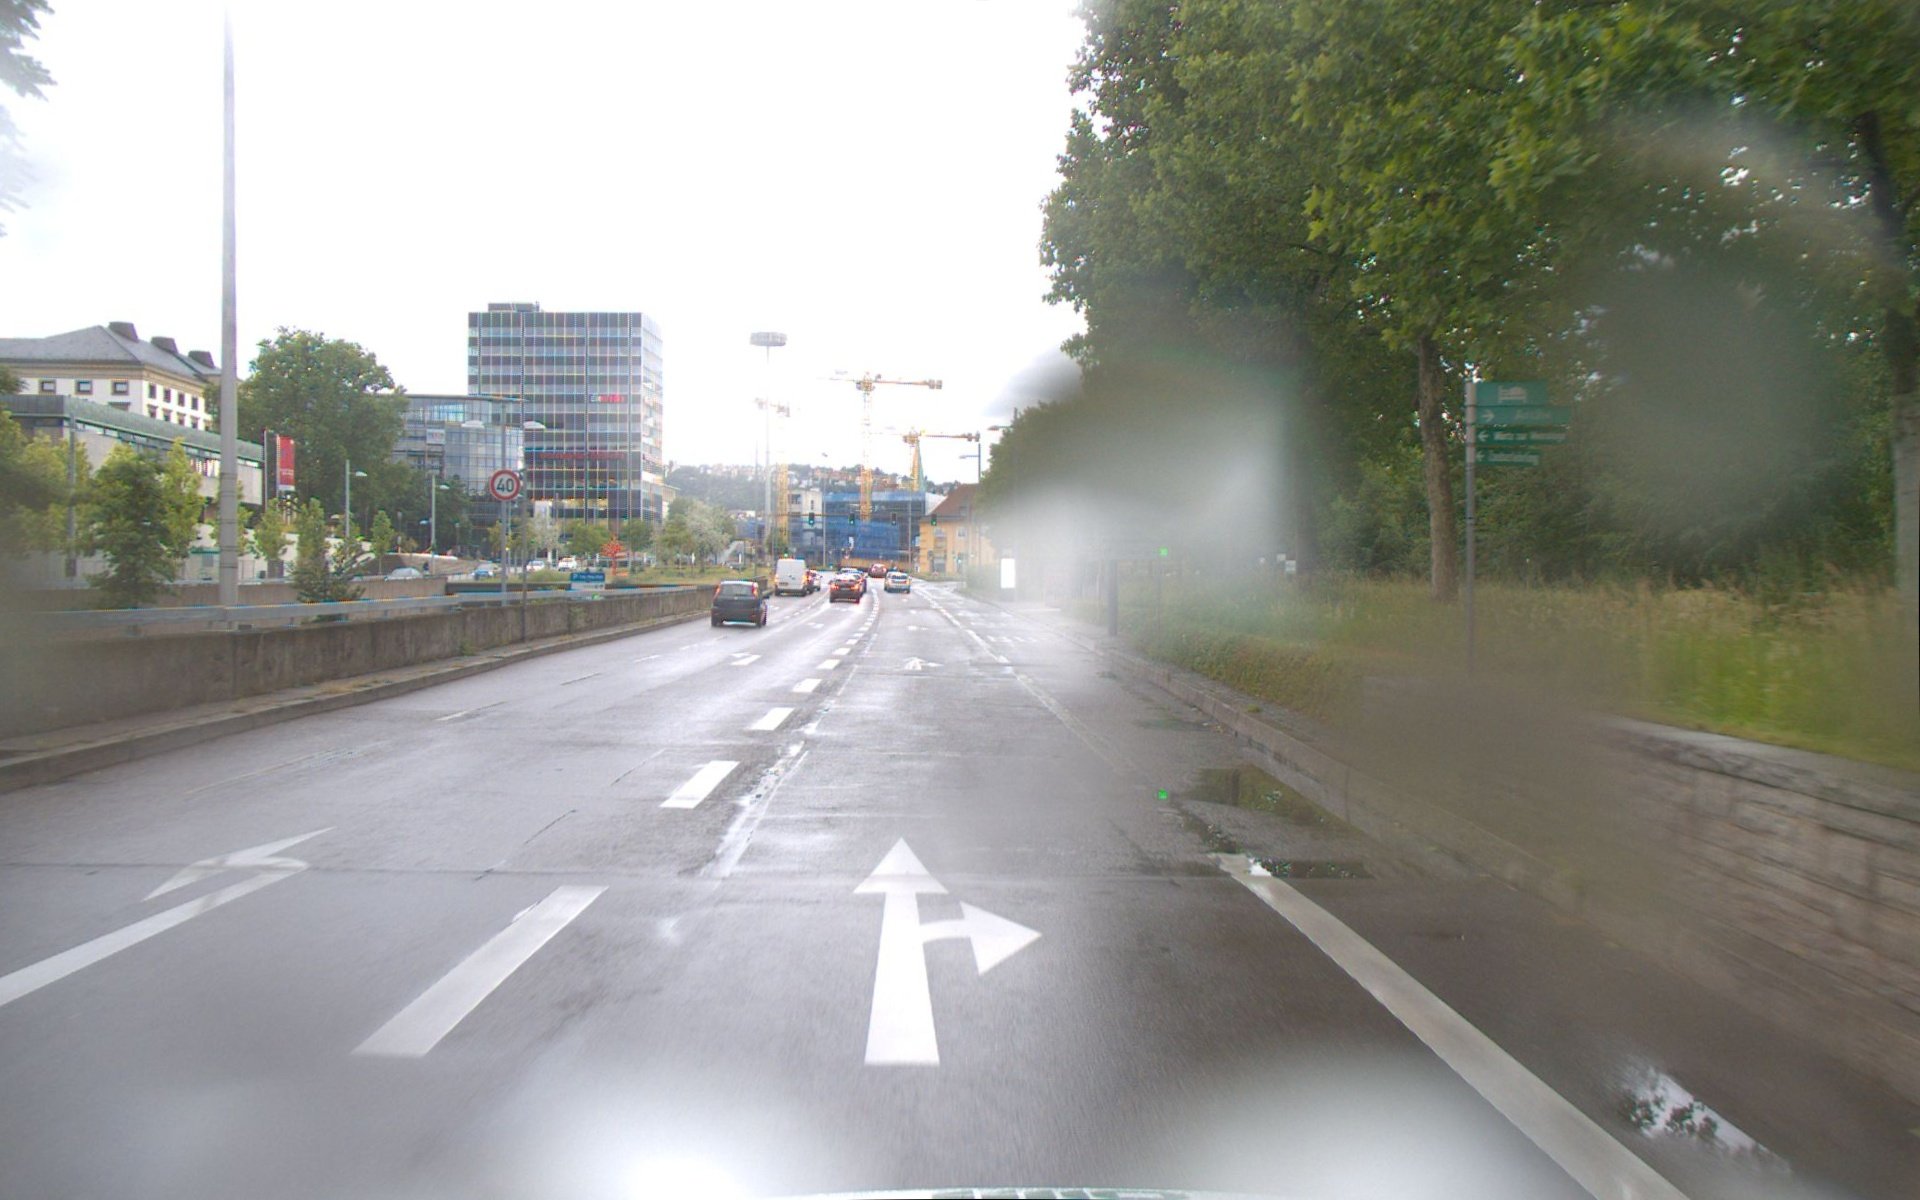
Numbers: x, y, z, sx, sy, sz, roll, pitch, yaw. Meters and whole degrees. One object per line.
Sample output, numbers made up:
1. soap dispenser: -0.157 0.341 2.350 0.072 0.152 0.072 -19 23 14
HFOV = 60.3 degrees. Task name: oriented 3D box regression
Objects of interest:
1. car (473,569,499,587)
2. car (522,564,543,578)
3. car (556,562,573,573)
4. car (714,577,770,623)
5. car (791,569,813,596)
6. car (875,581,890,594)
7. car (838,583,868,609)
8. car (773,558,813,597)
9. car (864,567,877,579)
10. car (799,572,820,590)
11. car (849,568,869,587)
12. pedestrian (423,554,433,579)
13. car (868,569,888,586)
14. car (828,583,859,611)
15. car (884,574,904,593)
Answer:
1. car: -39.538 -1.842 137.918 1.435 1.465 2.961 1 0 -3
2. car: -45.061 -3.052 174.437 1.379 1.277 3.166 1 0 0
3. car: -46.660 -3.815 195.007 1.411 1.134 3.019 1 0 -3
4. car: -7.108 -0.001 54.144 1.512 1.440 3.899 1 0 -3
5. car: -10.906 -1.193 114.378 1.436 1.736 3.138 1 0 -5
6. car: -6.171 -1.003 132.155 1.054 1.007 1.971 1 -1 0
7. car: -7.253 -0.267 112.166 1.844 1.681 3.453 1 0 -6
8. car: -10.879 -1.441 107.794 2.246 2.354 5.003 1 0 -3
9. car: -11.116 -3.378 205.362 1.449 1.384 3.136 1 0 0
10. car: -11.258 -1.397 123.811 1.520 1.282 2.578 1 0 -3
11. car: -7.626 -1.686 124.763 1.464 1.393 3.031 1 0 -4
12. pedestrian: -46.216 -2.912 143.776 0.710 2.126 0.768 1 5 -10
13. car: -9.574 -2.625 193.177 2.117 1.912 3.770 1 0 0
14. car: -6.866 -0.209 97.302 1.719 1.496 4.219 1 2 -4
15. car: -4.992 -1.279 125.768 1.415 1.383 2.412 1 0 0
